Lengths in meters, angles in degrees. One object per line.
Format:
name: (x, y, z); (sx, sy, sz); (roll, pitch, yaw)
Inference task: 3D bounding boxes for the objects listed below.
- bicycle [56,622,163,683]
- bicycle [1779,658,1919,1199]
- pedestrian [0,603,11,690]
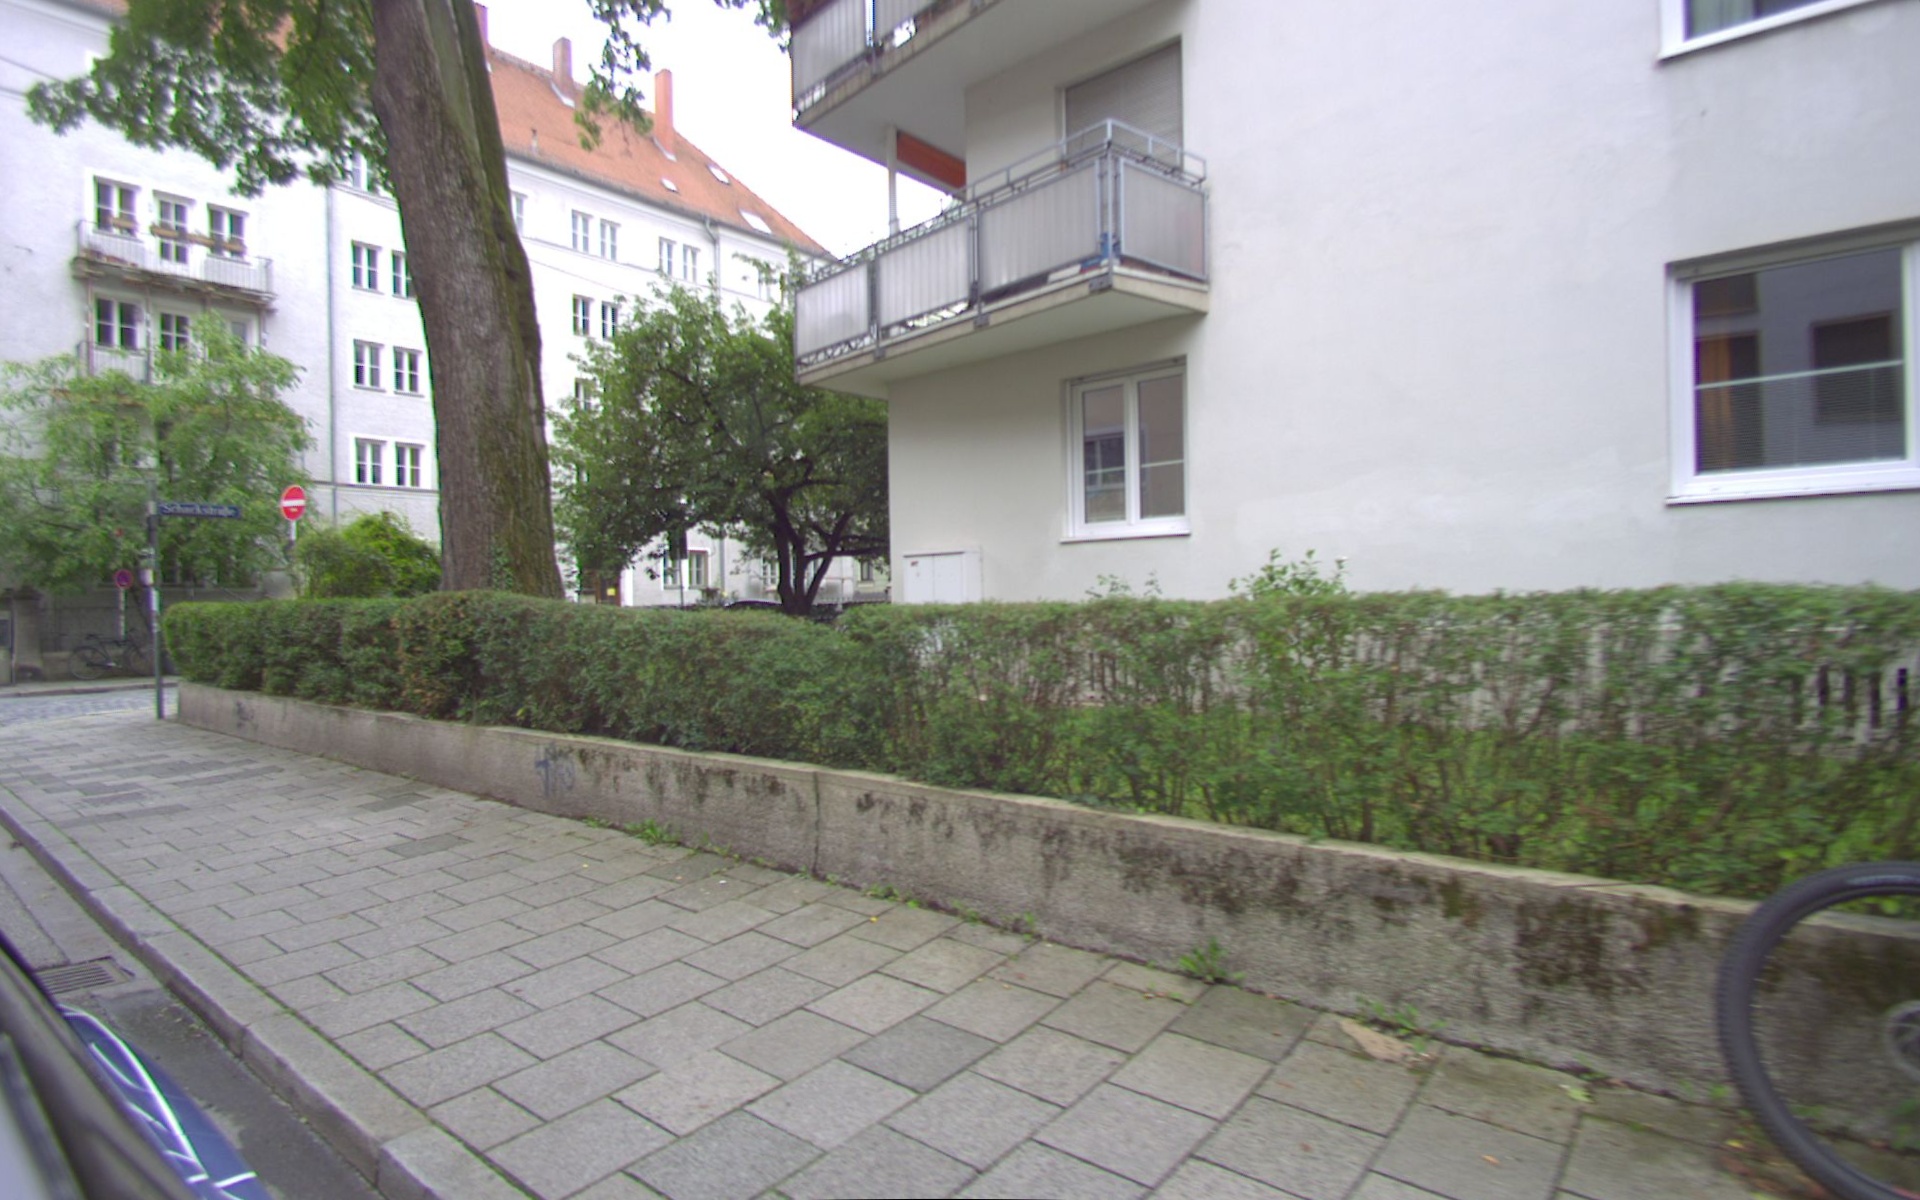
bicycle: (-19.067, 1.153, 22.724); (0.431, 1.270, 1.789); (-2, -1, 39)
bicycle: (2.477, 0.663, 1.622); (1.779, 1.079, 0.343); (-2, 3, 41)
pedestrian: (-20.032, 0.975, 20.672); (0.739, 1.776, 0.685); (-2, 1, 30)
